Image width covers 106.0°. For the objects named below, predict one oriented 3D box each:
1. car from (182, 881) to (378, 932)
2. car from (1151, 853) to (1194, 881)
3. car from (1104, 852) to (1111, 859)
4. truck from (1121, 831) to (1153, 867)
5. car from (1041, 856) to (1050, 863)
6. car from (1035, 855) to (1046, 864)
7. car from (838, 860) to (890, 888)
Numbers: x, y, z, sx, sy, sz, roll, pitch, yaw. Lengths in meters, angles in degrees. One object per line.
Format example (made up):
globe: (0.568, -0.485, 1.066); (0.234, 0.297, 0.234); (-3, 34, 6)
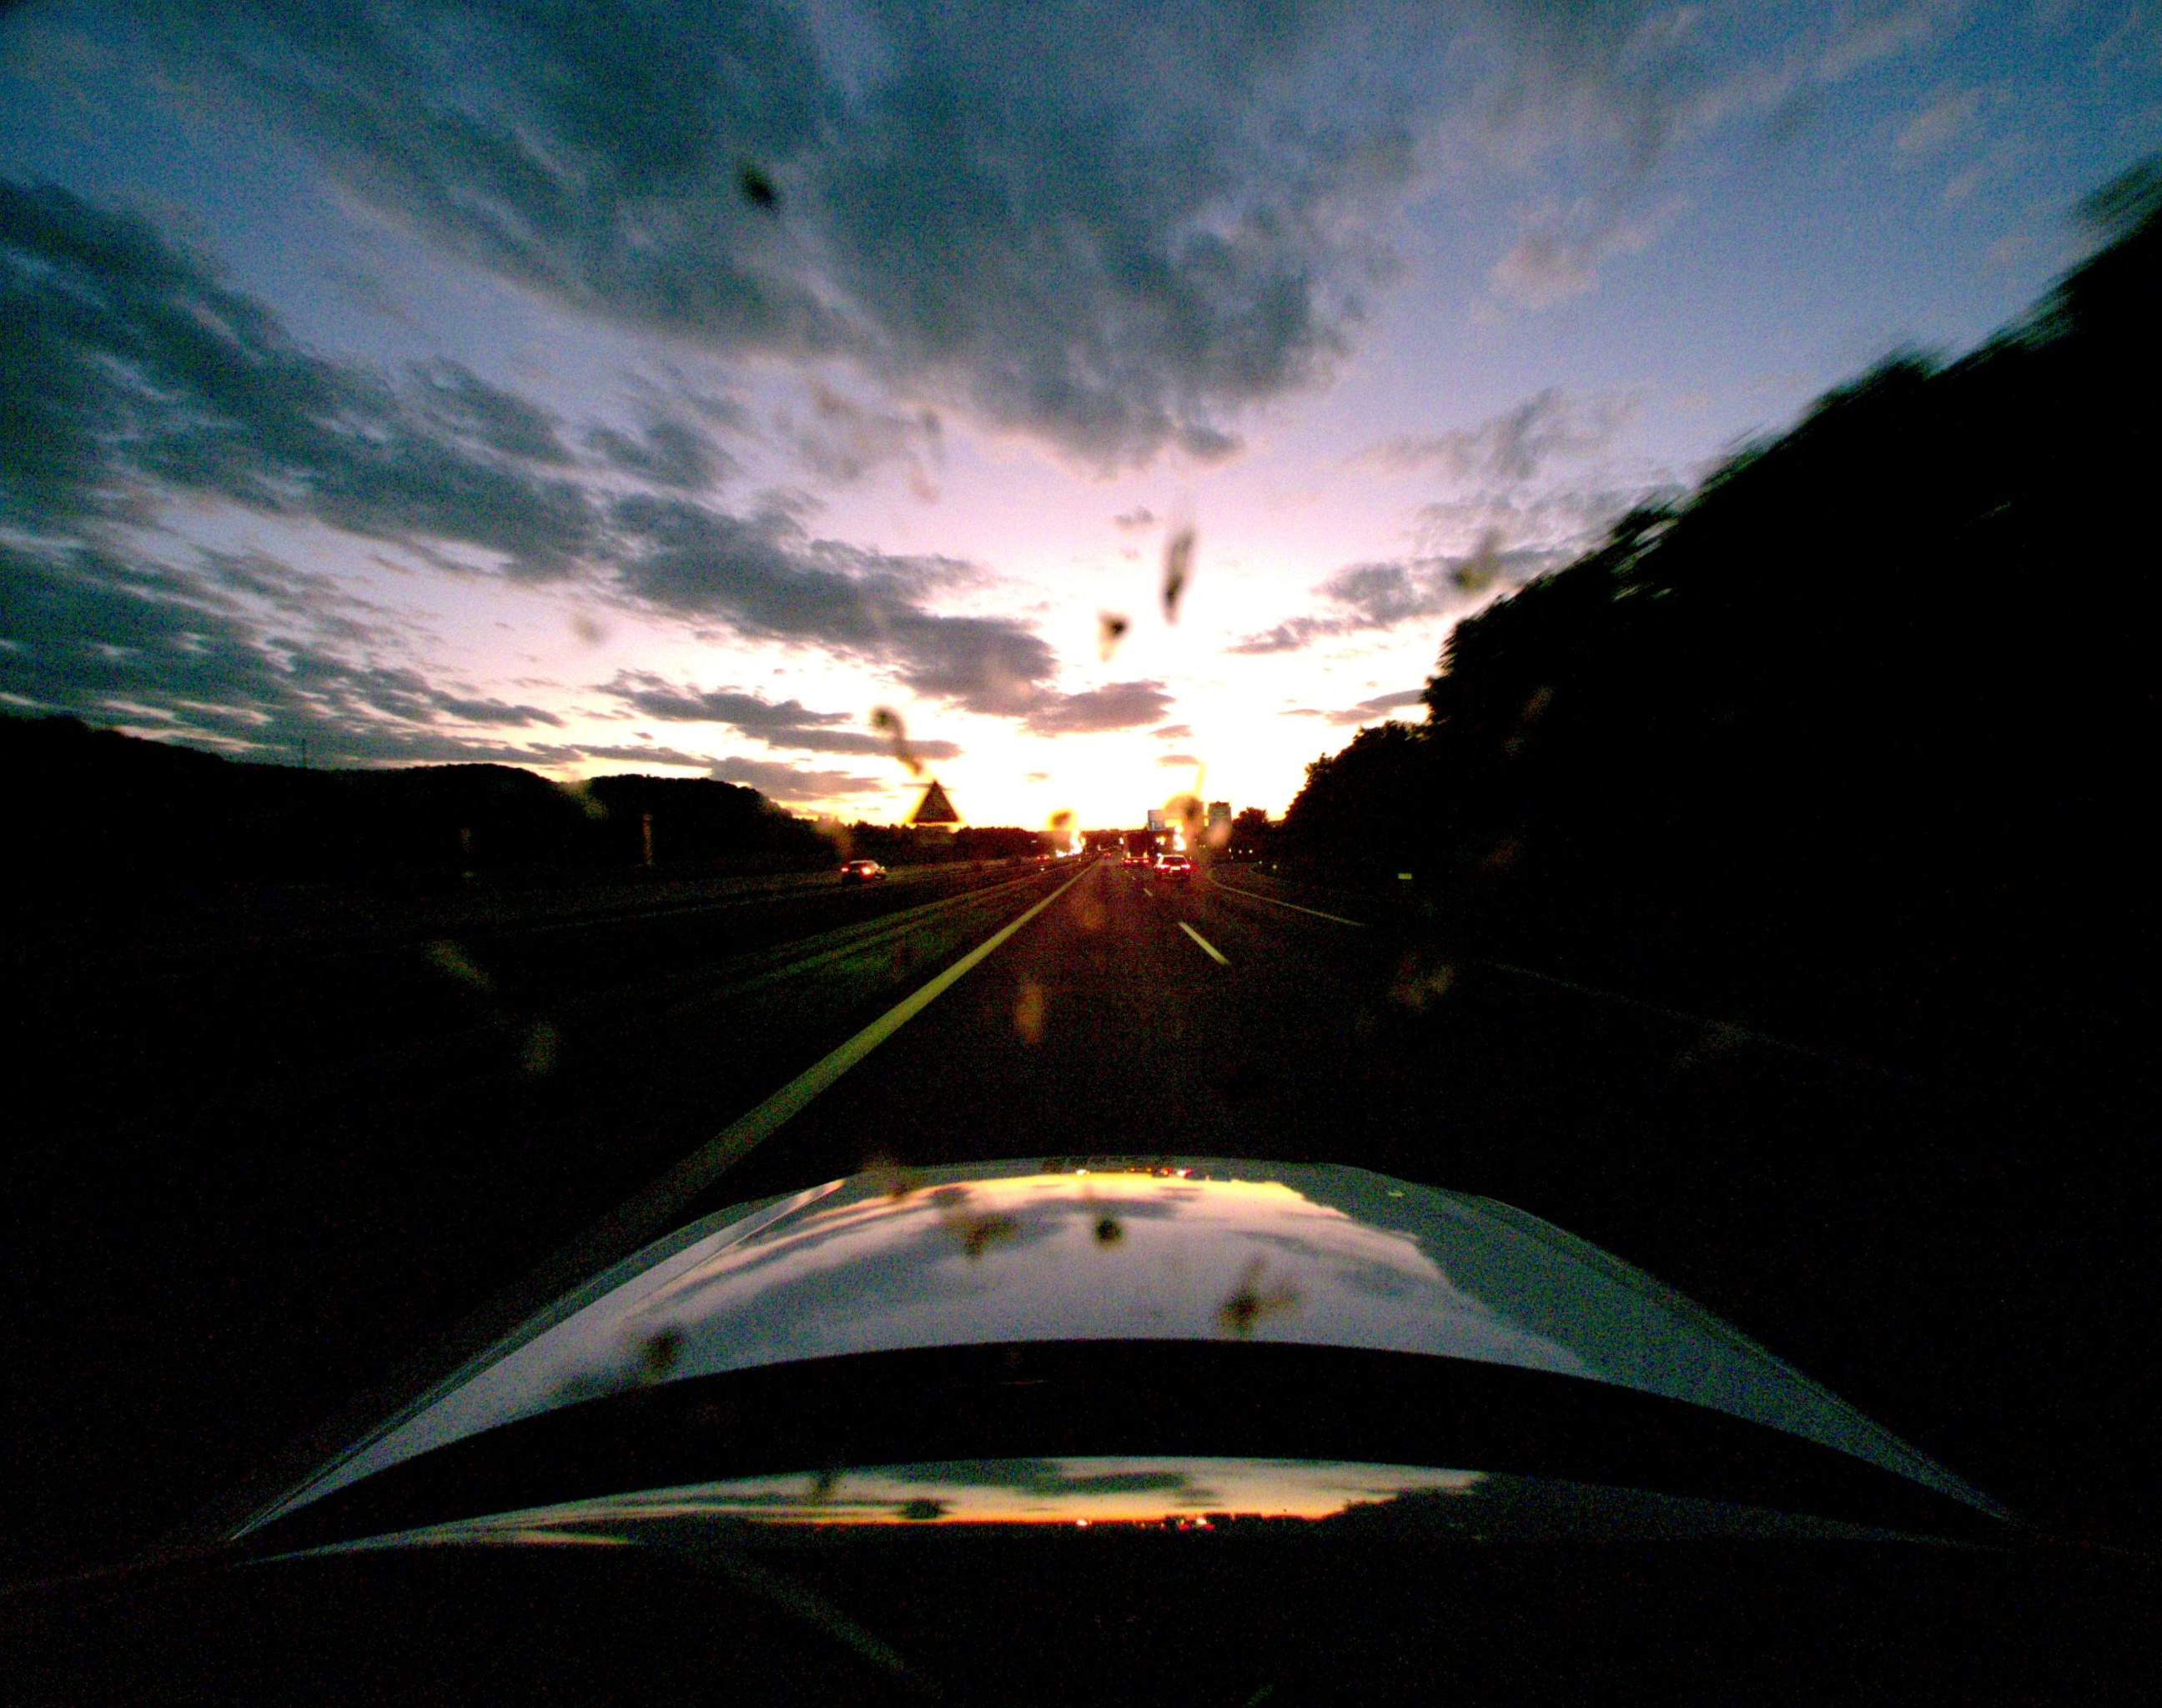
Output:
car: (-24.406, 1.549, 25.068); (1.746, 1.250, 4.214); (-3, 0, 2)
car: (5.083, 0.697, 45.689); (1.909, 1.442, 4.000); (-3, 0, 0)
car: (8.063, 0.491, 249.285); (1.986, 2.013, 4.001); (-3, 0, 2)
truck: (7.195, -0.584, 106.156); (3.497, 4.301, 9.894); (-3, 0, 1)
car: (-7.922, 1.198, 180.555); (1.632, 1.546, 3.396); (-3, 0, 2)
car: (-7.640, 1.091, 154.411); (1.706, 1.605, 3.723); (-3, 0, 2)
car: (-13.583, 1.204, 51.217); (1.865, 1.561, 4.521); (-3, 0, 2)
